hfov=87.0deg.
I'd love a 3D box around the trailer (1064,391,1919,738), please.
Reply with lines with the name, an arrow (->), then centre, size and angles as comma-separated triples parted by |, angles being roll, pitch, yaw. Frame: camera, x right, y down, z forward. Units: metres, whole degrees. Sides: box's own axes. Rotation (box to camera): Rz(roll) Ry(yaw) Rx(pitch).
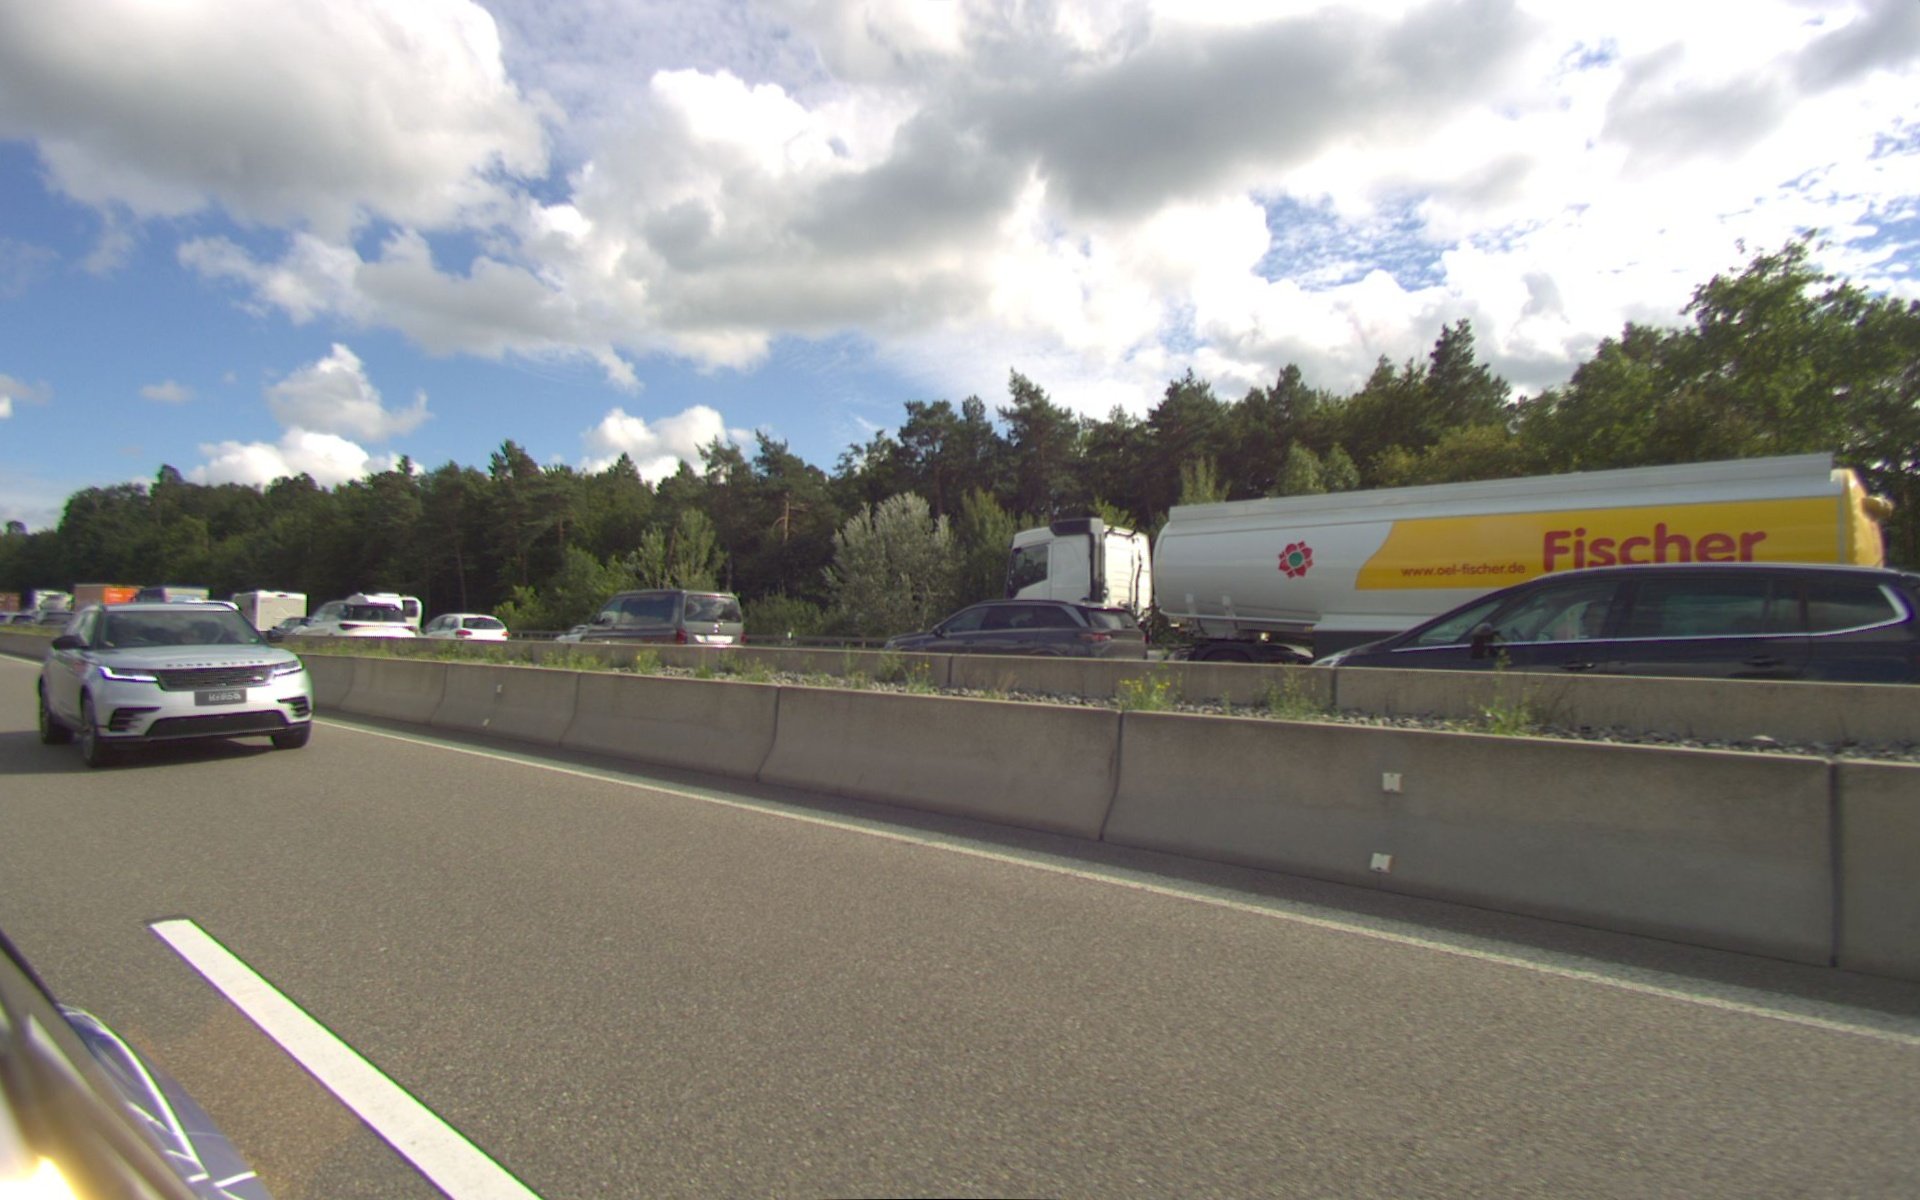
trailer -> 8.050, -0.320, 15.806 | 13.253, 3.857, 3.376 | -1, -1, 41

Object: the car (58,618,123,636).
car -> -40.297, 1.235, 46.881 | 4.444, 0.730, 1.630 | -1, 0, 41

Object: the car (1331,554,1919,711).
car -> 5.646, 0.201, 7.157 | 5.460, 0.934, 1.650 | -1, 0, 41

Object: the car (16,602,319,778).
car -> -9.365, 0.882, 11.772 | 5.103, 1.619, 1.880 | -1, -1, 41

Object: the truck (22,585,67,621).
truck -> -96.719, 0.329, 106.887 | 5.106, 3.775, 2.926 | -1, -1, 41

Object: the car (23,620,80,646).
car -> -51.885, 1.867, 57.738 | 4.900, 1.398, 1.813 | -1, -1, 41

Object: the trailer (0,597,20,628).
trailer -> -127.285, 1.597, 133.917 | 12.885, 4.013, 2.919 | 0, 0, 41

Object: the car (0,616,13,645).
car -> -70.300, 2.230, 73.530 | 4.681, 2.029, 1.725 | 0, 0, 41

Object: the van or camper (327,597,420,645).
van or camper -> -26.294, 0.911, 45.323 | 4.687, 2.026, 2.259 | -1, 0, 42

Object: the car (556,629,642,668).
car -> -16.894, 2.211, 47.233 | 4.479, 1.668, 1.813 | -1, -1, 41

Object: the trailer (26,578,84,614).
trailer -> -91.824, -0.391, 102.563 | 12.226, 3.524, 2.919 | 0, 0, 41

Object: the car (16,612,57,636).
car -> -78.276, 2.002, 85.768 | 4.988, 1.974, 1.973 | 0, 0, 41

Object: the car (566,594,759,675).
car -> -6.916, 0.749, 23.276 | 4.780, 1.668, 1.987 | -1, 0, 41

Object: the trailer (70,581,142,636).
trailer -> -73.072, 0.682, 86.433 | 13.171, 4.352, 2.612 | 0, 1, 41

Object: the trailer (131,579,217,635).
trailer -> -55.186, 0.490, 70.915 | 10.215, 3.686, 2.858 | 0, -1, 41

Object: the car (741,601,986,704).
car -> -1.884, 0.895, 18.725 | 4.660, 1.644, 1.781 | -1, 0, 41

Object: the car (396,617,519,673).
car -> -15.264, 1.313, 30.653 | 4.240, 1.549, 1.813 | -1, 0, 41

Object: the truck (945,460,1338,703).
truck -> 3.384, -0.256, 19.889 | 6.798, 3.930, 3.381 | -1, -1, 41

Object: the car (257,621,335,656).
car -> -26.233, 1.506, 39.939 | 3.588, 1.266, 1.646 | -1, 0, 41

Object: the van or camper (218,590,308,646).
van or camper -> -39.222, 0.914, 56.847 | 7.479, 2.911, 2.444 | 1, 1, 42

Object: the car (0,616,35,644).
car -> -62.121, 1.918, 66.250 | 4.627, 1.777, 1.798 | -1, -1, 41

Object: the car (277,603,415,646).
car -> -15.322, 0.599, 25.174 | 4.485, 0.947, 1.626 | -1, 0, 41

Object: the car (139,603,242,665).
car -> -27.782, 1.206, 36.447 | 5.497, 2.078, 1.813 | -1, -2, 41
